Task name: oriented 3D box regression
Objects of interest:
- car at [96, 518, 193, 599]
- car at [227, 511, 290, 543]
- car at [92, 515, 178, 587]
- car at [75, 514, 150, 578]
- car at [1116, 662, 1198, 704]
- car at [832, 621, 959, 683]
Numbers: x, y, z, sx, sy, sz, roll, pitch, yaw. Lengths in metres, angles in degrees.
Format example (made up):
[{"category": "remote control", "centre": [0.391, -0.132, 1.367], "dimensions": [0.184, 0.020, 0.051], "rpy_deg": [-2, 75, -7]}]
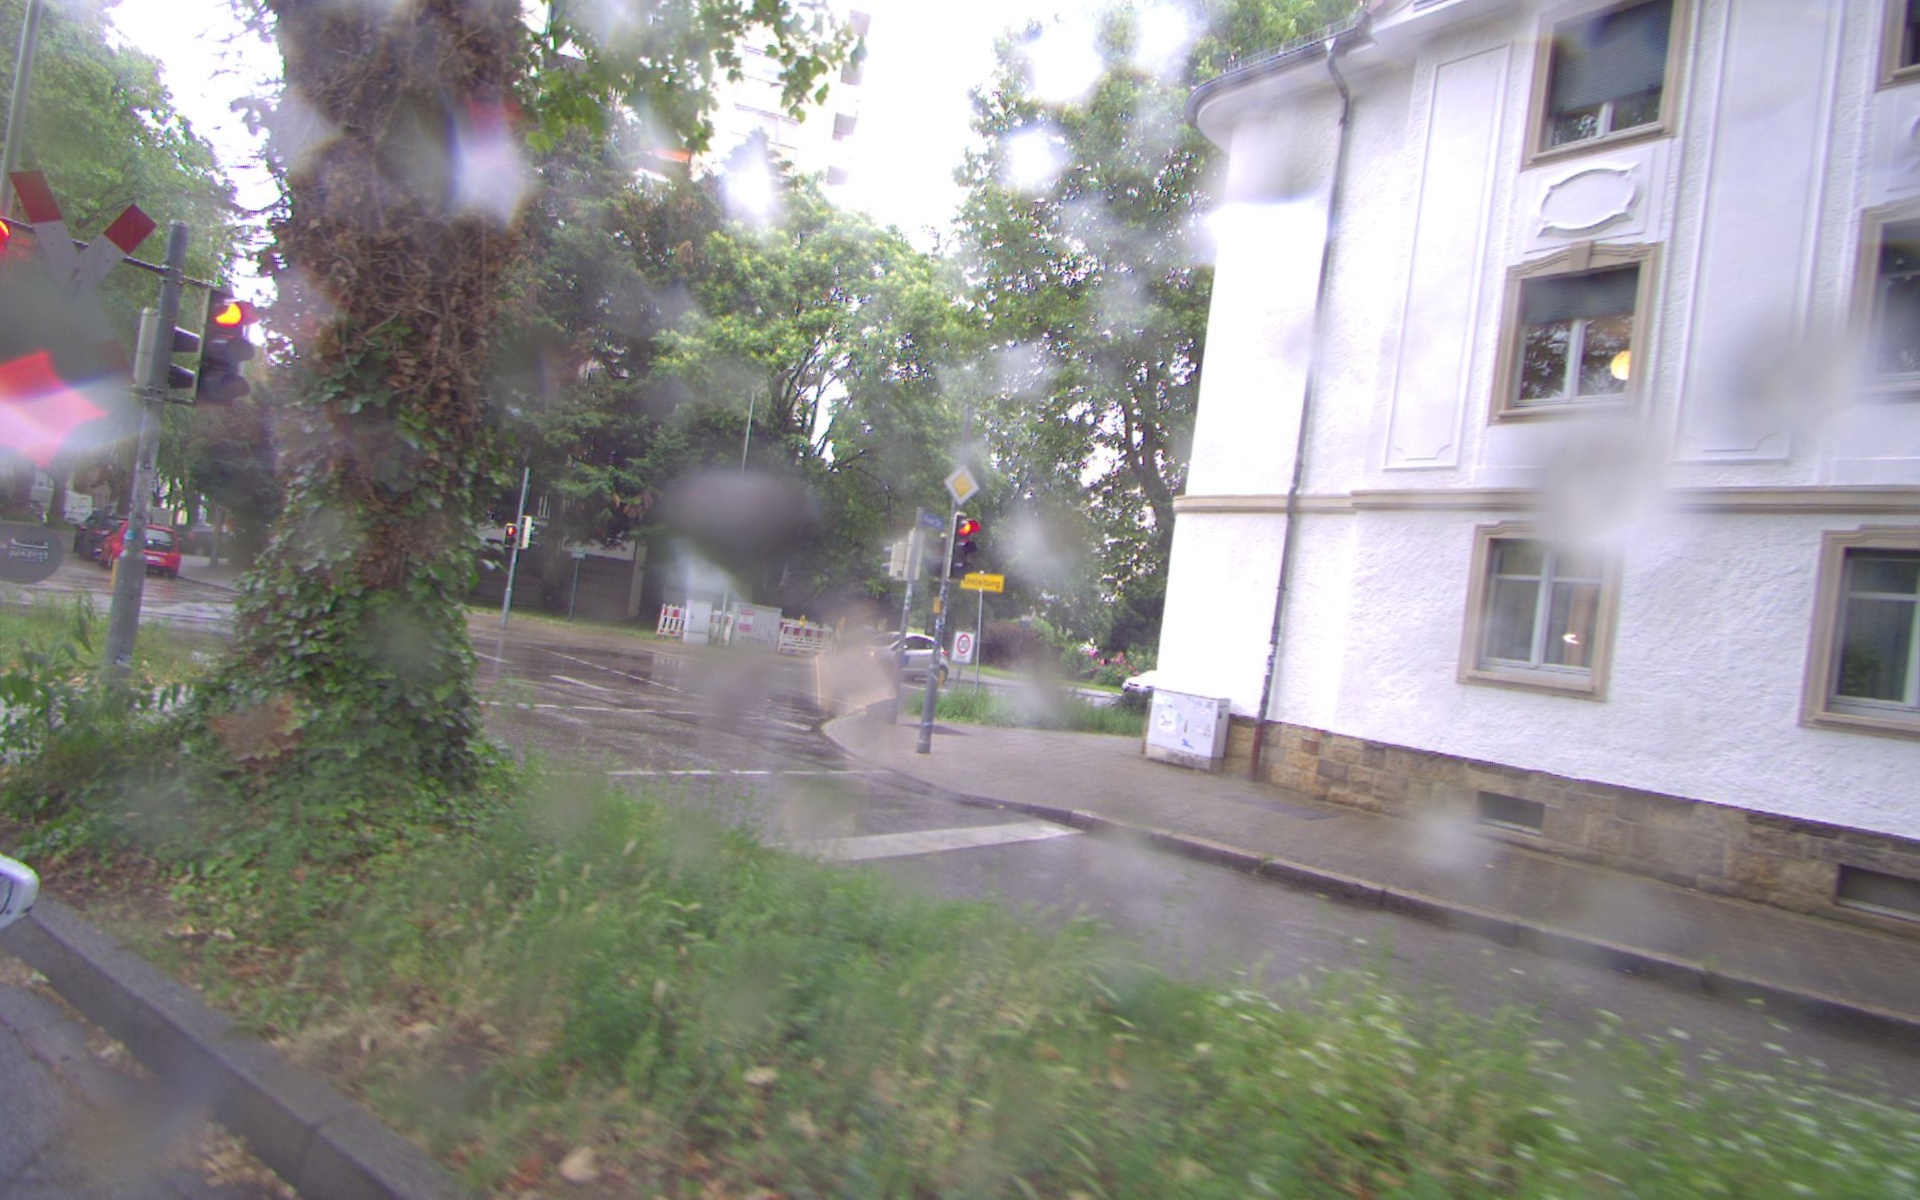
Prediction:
[{"category": "car", "centre": [-25.077, -1.305, 30.891], "dimensions": [1.986, 2.038, 3.952], "rpy_deg": [7, 0, -42]}, {"category": "car", "centre": [-57.323, -5.971, 82.197], "dimensions": [3.969, 2.038, 1.689], "rpy_deg": [8, 0, -39]}, {"category": "car", "centre": [-28.250, -1.693, 34.411], "dimensions": [1.986, 2.038, 3.952], "rpy_deg": [7, 0, -42]}, {"category": "car", "centre": [-32.905, -2.110, 39.004], "dimensions": [1.986, 2.038, 3.952], "rpy_deg": [7, 0, -42]}, {"category": "car", "centre": [9.002, 3.803, 45.858], "dimensions": [3.630, 1.504, 1.704], "rpy_deg": [8, 0, -43]}, {"category": "car", "centre": [-1.976, 1.652, 31.494], "dimensions": [1.702, 1.504, 3.632], "rpy_deg": [7, 0, 45]}]
